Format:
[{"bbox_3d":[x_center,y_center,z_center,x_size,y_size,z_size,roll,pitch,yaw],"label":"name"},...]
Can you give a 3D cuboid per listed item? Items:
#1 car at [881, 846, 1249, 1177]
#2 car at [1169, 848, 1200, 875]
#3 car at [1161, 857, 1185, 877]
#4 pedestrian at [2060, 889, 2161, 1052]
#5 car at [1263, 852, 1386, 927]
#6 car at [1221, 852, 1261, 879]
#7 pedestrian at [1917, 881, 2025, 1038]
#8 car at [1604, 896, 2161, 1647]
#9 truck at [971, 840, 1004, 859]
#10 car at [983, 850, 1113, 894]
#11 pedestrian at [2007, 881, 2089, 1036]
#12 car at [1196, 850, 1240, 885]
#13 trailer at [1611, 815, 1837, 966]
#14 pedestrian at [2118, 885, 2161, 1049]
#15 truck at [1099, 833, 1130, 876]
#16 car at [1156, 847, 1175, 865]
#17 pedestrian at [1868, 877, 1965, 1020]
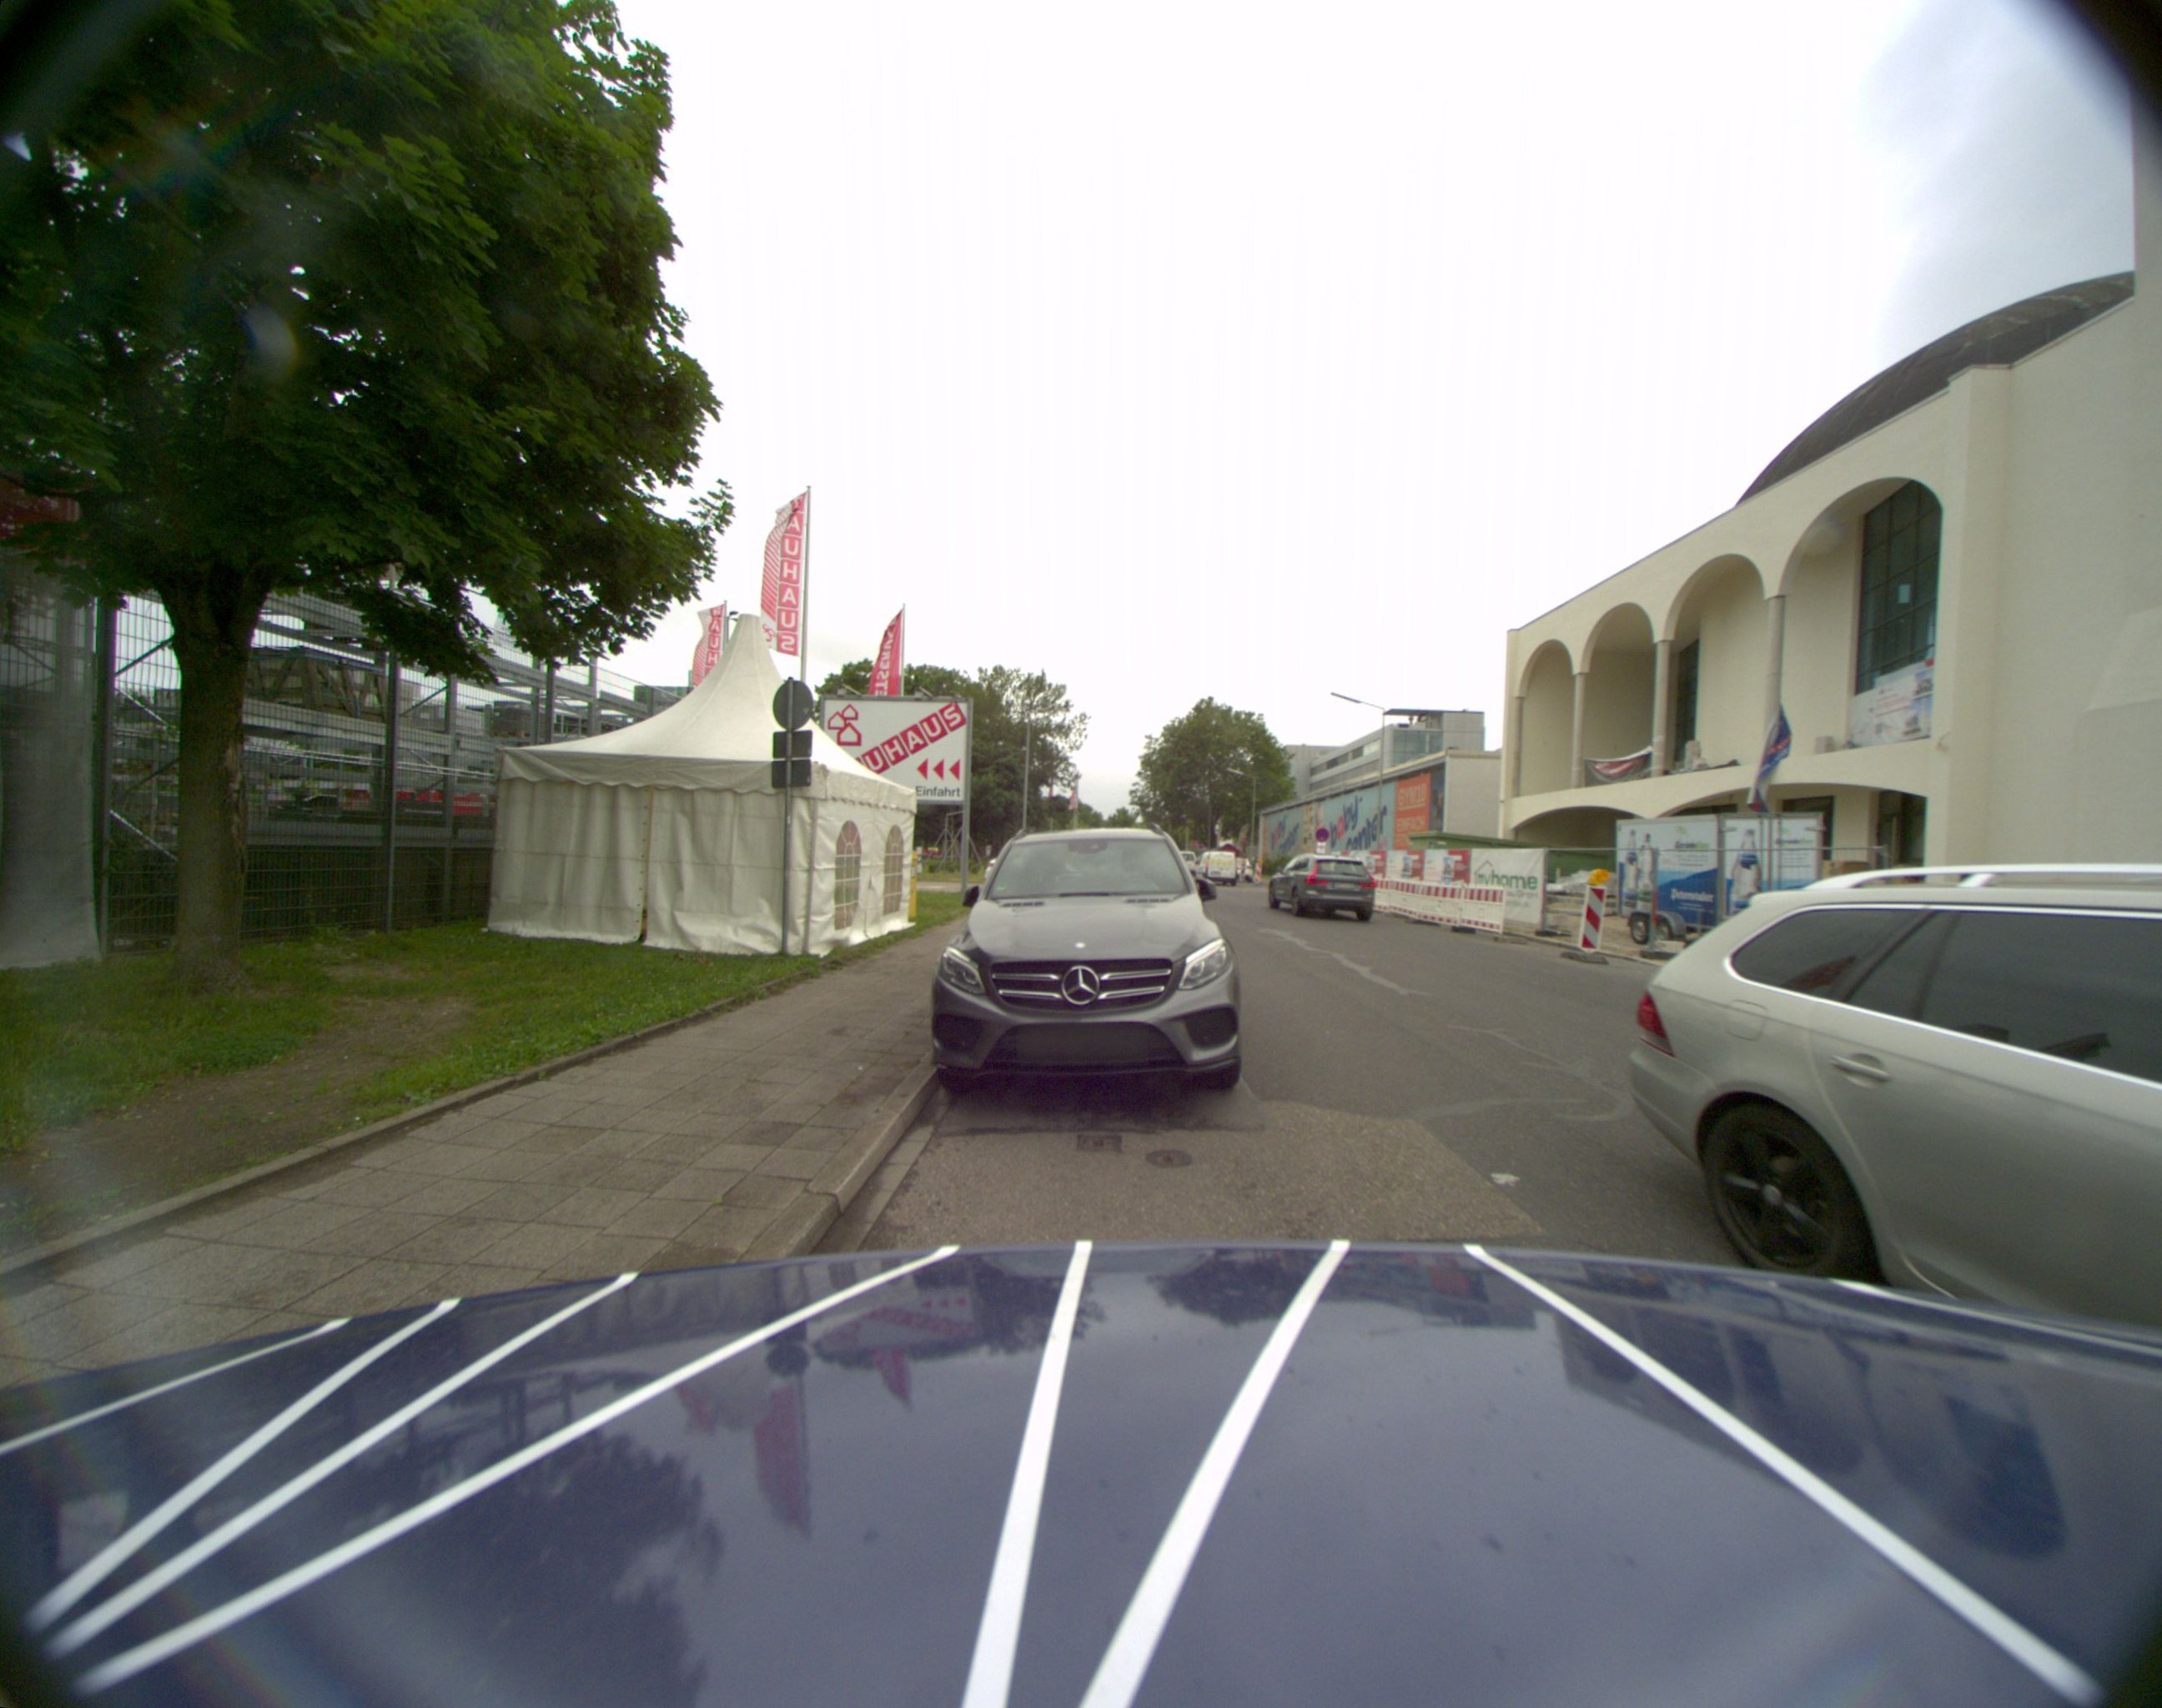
[{"bbox_3d":[0.036,0.824,6.242,1.913,1.731,4.481,-1,0,3],"label":"car"},{"bbox_3d":[7.870,0.522,58.127,1.799,1.797,4.383,3,1,2],"label":"car"},{"bbox_3d":[8.156,1.143,67.772,1.733,1.562,3.947,4,1,3],"label":"car"},{"bbox_3d":[10.681,1.167,7.856,0.570,1.601,0.492,-2,-2,43],"label":"pedestrian"},{"bbox_3d":[6.383,0.845,20.520,1.938,1.674,4.495,3,1,2],"label":"car"},{"bbox_3d":[10.669,0.736,50.867,1.928,1.565,4.150,5,1,3],"label":"car"},{"bbox_3d":[10.399,1.187,8.893,0.491,1.738,0.690,0,-2,-28],"label":"pedestrian"},{"bbox_3d":[3.117,0.945,1.152,1.757,1.443,4.297,2,1,2],"label":"car"},{"bbox_3d":[-12.448,-0.625,101.671,1.994,2.383,4.009,3,1,42],"label":"truck"},{"bbox_3d":[-1.137,0.627,27.365,4.492,1.420,1.939,1,2,0],"label":"car"},{"bbox_3d":[11.319,1.192,8.911,0.492,1.738,0.527,1,-2,-41],"label":"pedestrian"},{"bbox_3d":[7.408,0.673,41.493,1.693,1.751,4.135,2,1,2],"label":"car"},{"bbox_3d":[12.446,0.626,15.005,1.802,2.592,3.192,2,1,6],"label":"trailer"},{"bbox_3d":[11.305,1.162,7.851,0.411,1.682,0.572,0,-2,-22],"label":"pedestrian"},{"bbox_3d":[2.126,0.027,48.702,1.852,2.597,4.000,-1,1,2],"label":"truck"},{"bbox_3d":[10.180,0.224,91.937,1.931,2.002,4.955,2,1,3],"label":"car"},{"bbox_3d":[10.694,1.174,9.739,0.491,1.738,0.690,0,-2,-28],"label":"pedestrian"}]
